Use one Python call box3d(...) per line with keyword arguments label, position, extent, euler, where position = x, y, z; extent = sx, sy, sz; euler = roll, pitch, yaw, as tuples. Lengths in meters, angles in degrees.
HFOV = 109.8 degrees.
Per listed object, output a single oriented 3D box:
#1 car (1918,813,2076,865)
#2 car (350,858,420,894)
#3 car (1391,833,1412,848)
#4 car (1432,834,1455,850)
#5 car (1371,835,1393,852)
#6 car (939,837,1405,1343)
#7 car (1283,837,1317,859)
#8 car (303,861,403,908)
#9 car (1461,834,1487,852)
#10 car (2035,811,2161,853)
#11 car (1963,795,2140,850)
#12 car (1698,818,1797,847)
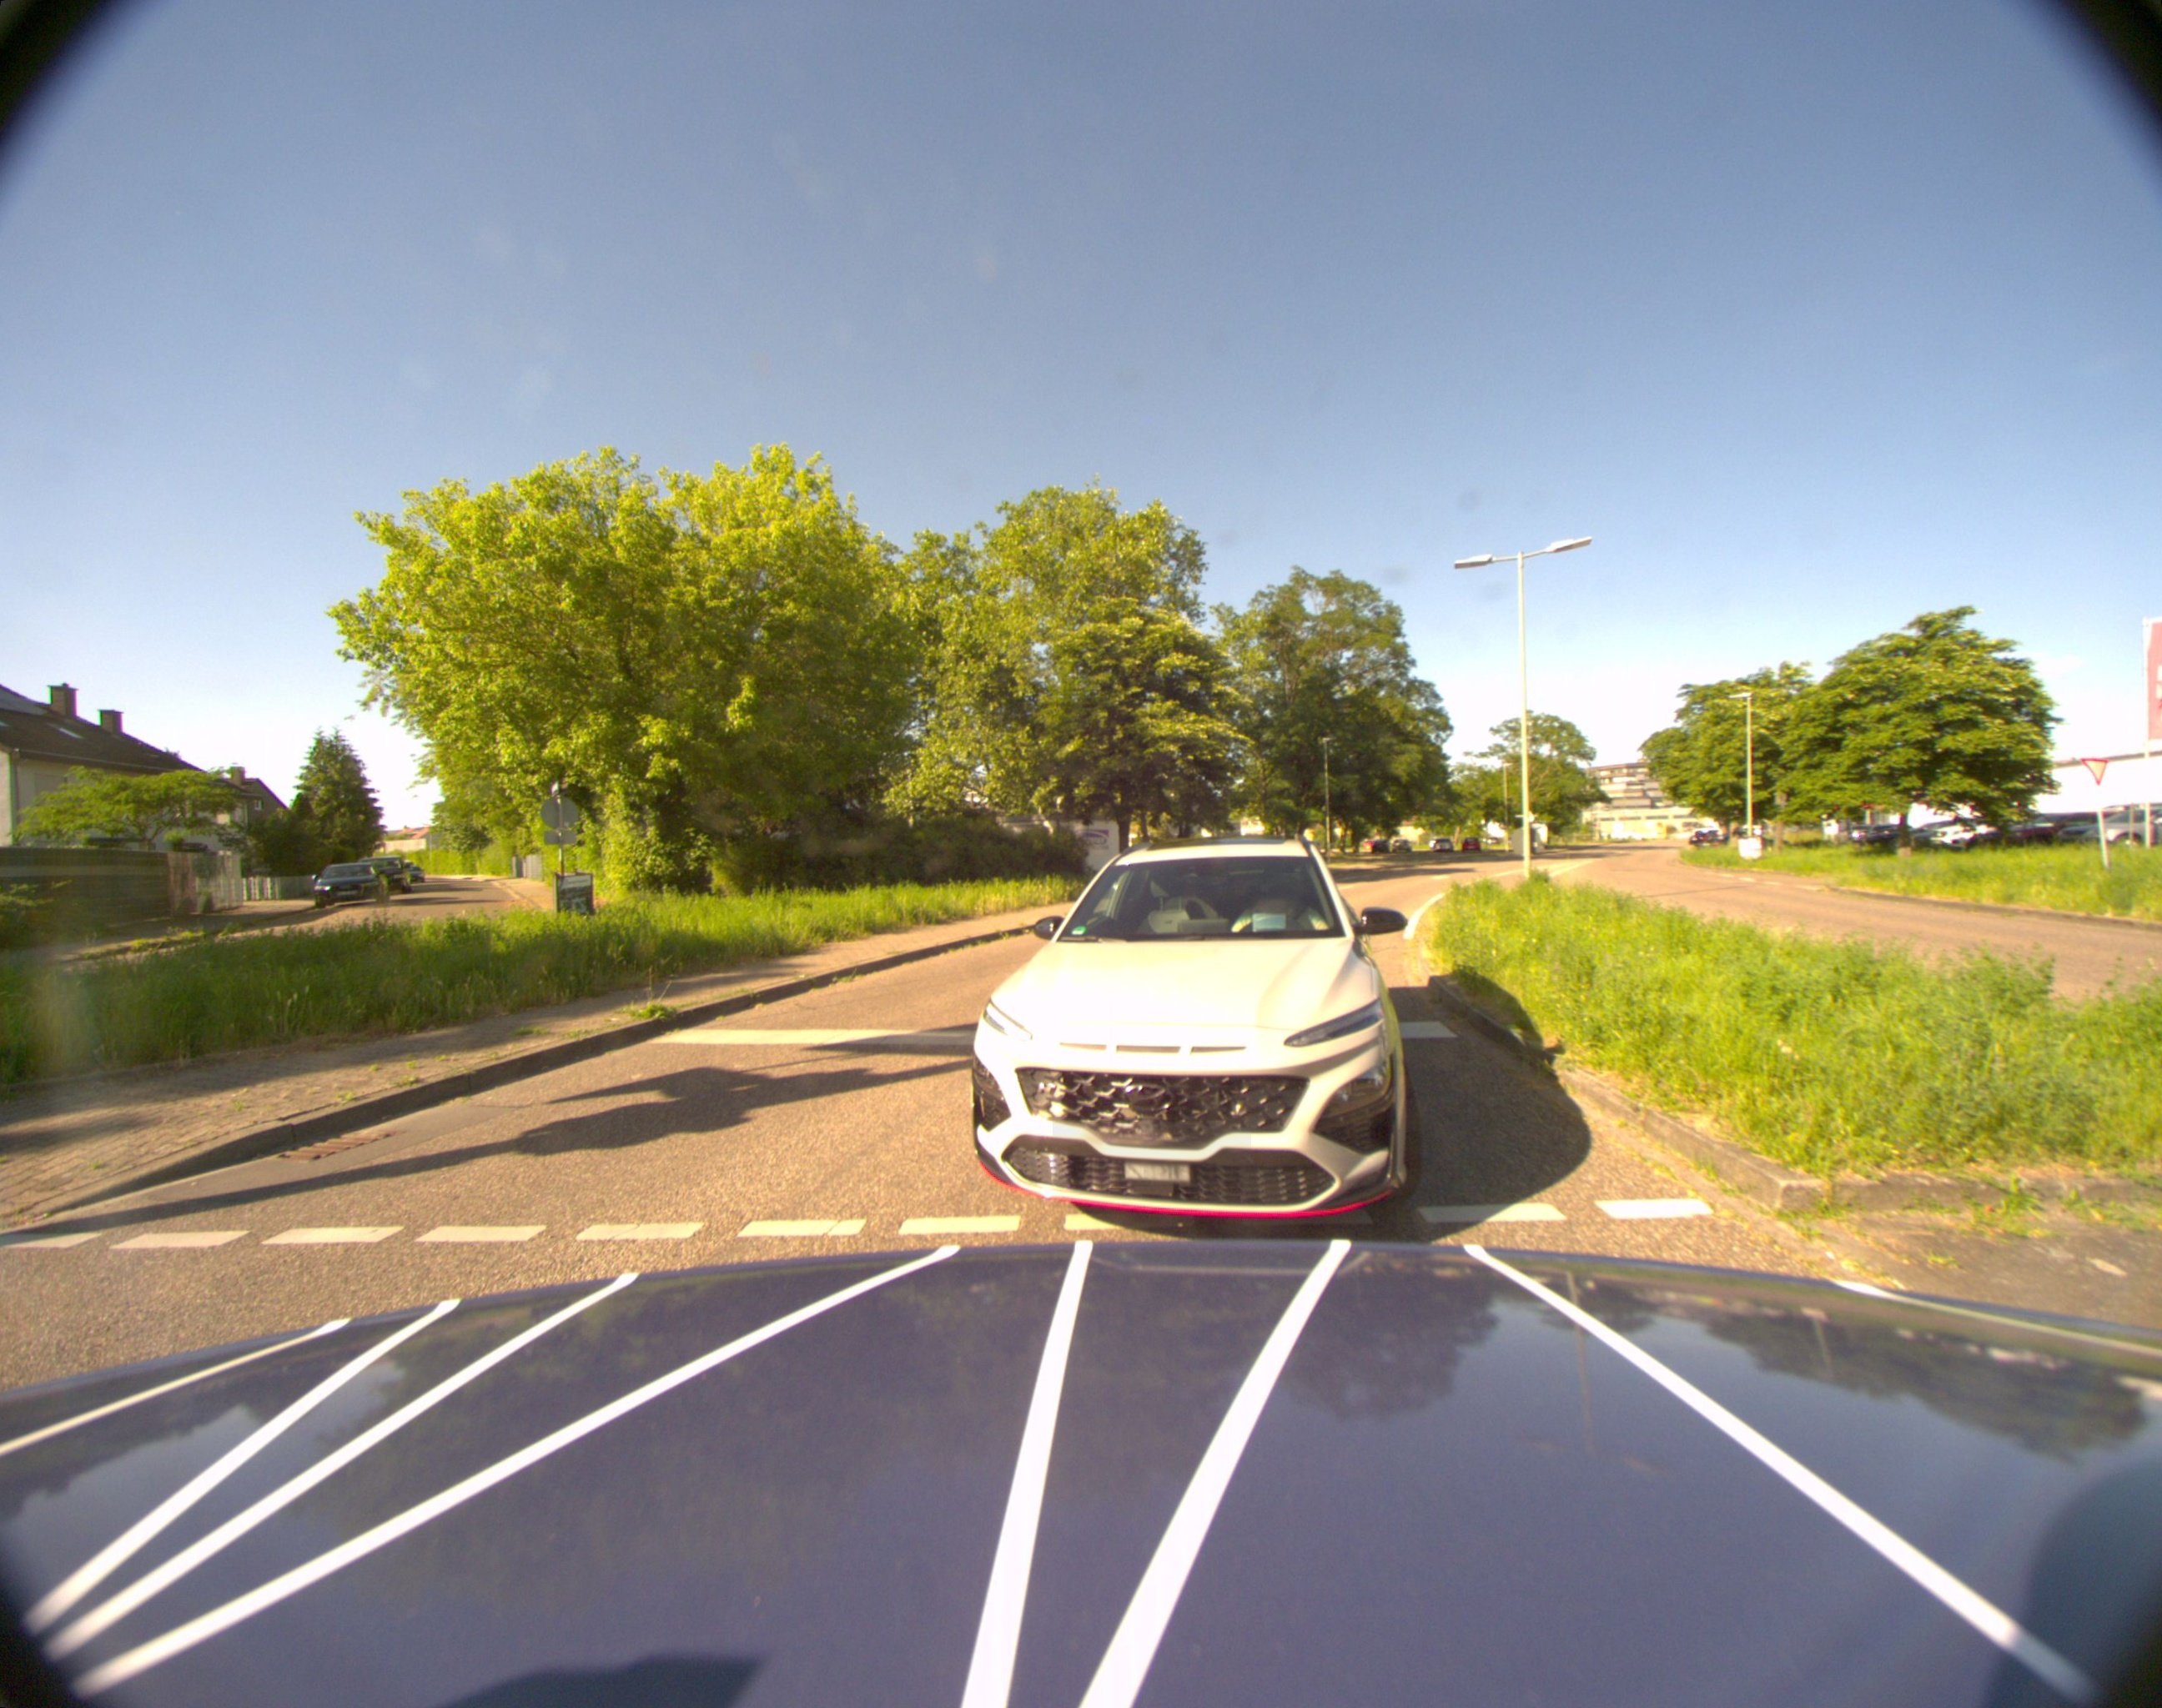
box3d(label="car", position=(39.730, -0.644, 33.082), extent=(3.993, 2.002, 2.002), euler=(-2, 1, 14))
box3d(label="car", position=(-34.741, 1.055, 38.018), extent=(1.967, 1.657, 3.990), euler=(-3, 1, -34))
box3d(label="car", position=(34.142, -1.450, 80.927), extent=(1.867, 1.432, 3.488), euler=(1, 2, 25))
box3d(label="car", position=(35.443, -1.182, 74.314), extent=(1.995, 1.442, 4.006), euler=(1, 2, 25))
box3d(label="car", position=(30.093, -1.074, 75.975), extent=(1.733, 1.610, 4.006), euler=(1, 2, 25))
box3d(label="car", position=(0.904, 0.773, 4.741), extent=(1.712, 1.636, 4.059), euler=(-1, 2, 18))
box3d(label="car", position=(19.208, -0.549, 66.556), extent=(2.005, 1.785, 4.007), euler=(-2, 1, 29))
box3d(label="car", position=(-27.377, 1.082, 28.730), extent=(2.003, 1.547, 3.990), euler=(-4, 2, -34))
box3d(label="car", position=(37.767, -1.059, 73.097), extent=(1.995, 1.657, 4.006), euler=(1, 2, 25))
box3d(label="car", position=(38.106, -0.816, 27.560), extent=(3.992, 1.400, 1.841), euler=(-2, 1, 18))
box3d(label="car", position=(38.862, -1.207, 30.563), extent=(3.992, 2.002, 2.002), euler=(-1, 1, 15))
box3d(label="car", position=(38.452, -1.233, 43.975), extent=(3.990, 1.521, 1.932), euler=(-1, 1, 28))
